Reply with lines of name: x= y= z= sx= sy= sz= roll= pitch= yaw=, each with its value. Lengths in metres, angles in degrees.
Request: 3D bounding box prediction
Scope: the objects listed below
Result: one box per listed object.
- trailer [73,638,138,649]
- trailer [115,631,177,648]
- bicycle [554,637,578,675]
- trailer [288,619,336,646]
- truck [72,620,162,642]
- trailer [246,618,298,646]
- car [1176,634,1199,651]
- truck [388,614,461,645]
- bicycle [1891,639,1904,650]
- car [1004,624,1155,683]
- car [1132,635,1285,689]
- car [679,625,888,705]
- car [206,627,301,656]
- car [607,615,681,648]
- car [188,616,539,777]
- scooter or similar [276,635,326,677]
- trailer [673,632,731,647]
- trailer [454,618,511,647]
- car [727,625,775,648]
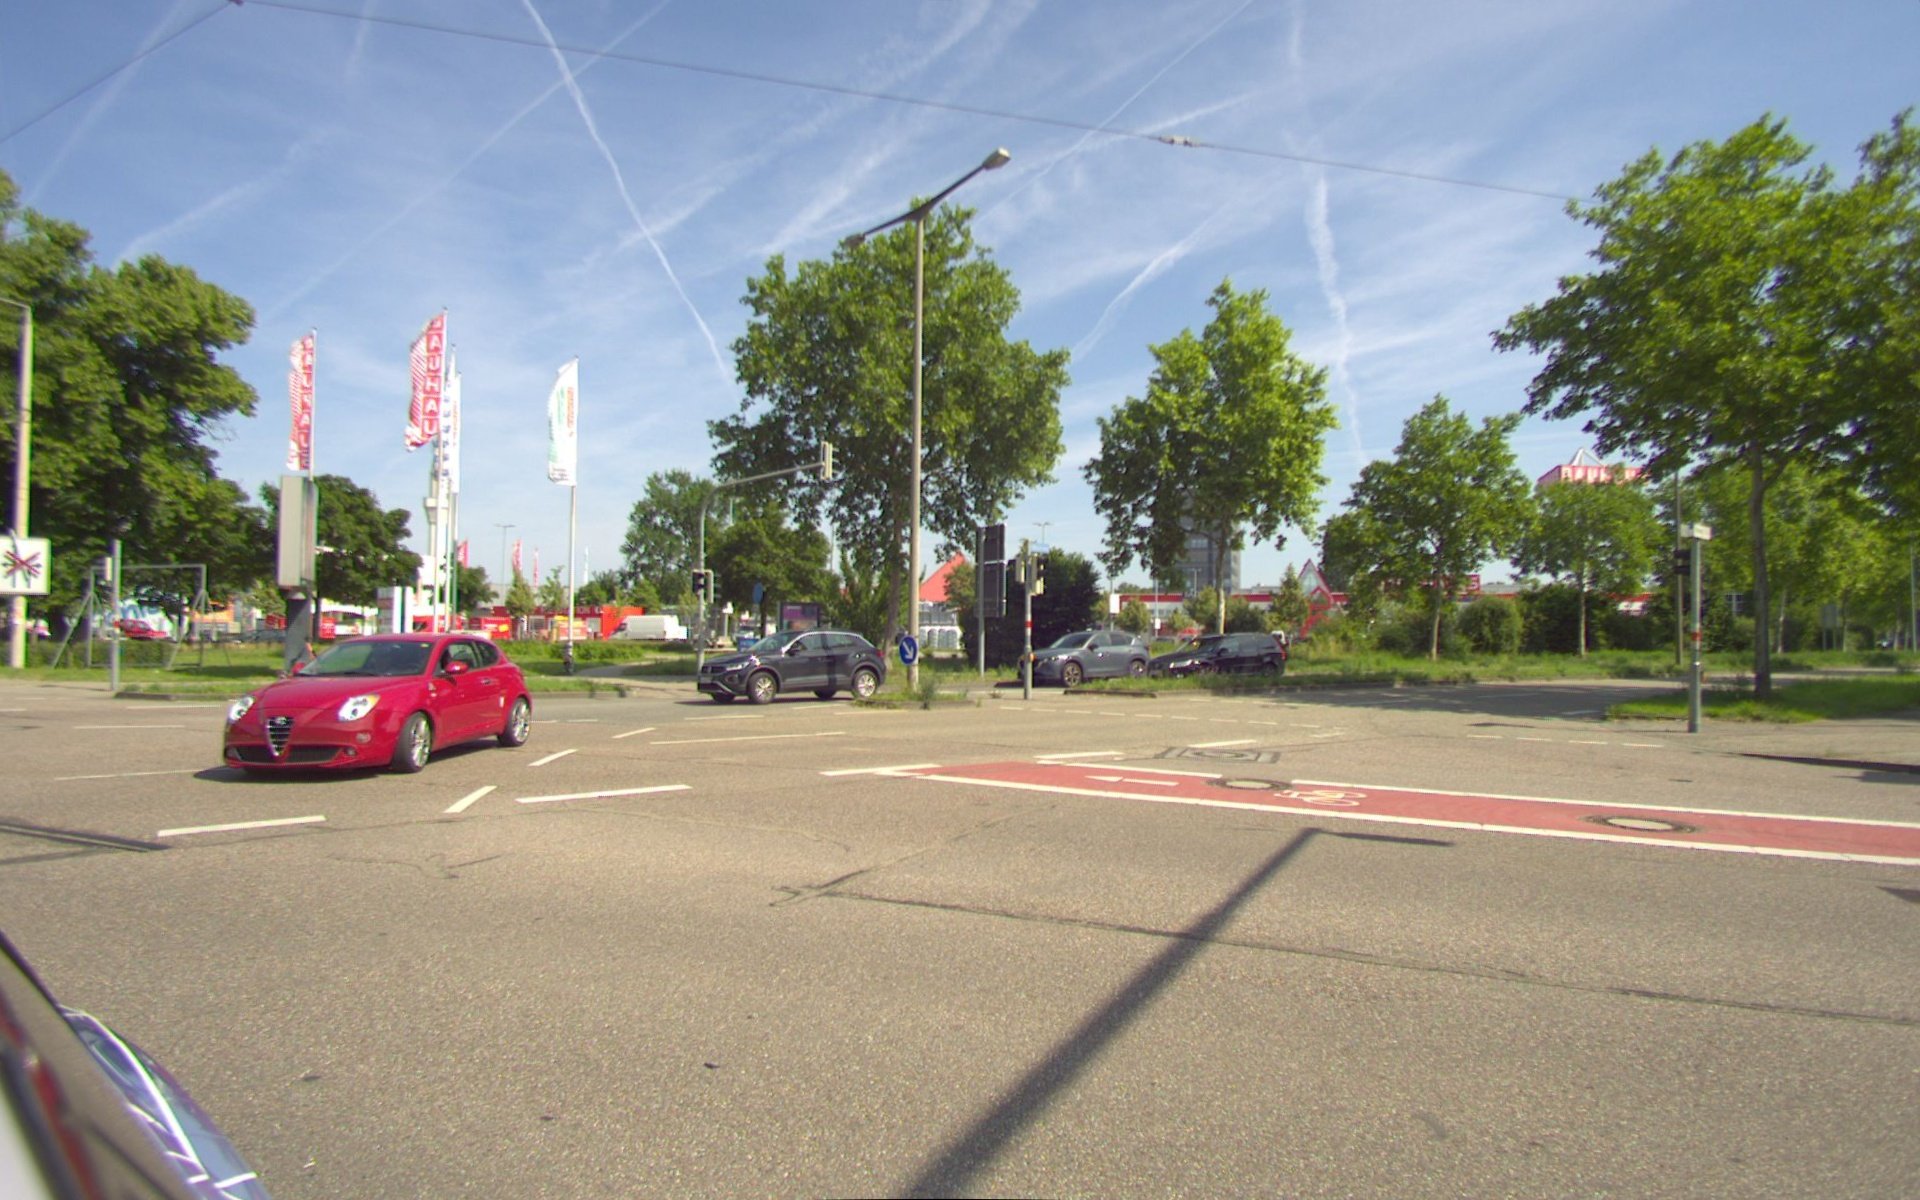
trailer: x=-63.756 y=3.220 z=75.506 sx=4.386 sy=0.788 sz=2.082 roll=-1 pitch=-2 yaw=25
trailer: x=-63.210 y=3.059 z=78.625 sx=4.374 sy=1.297 sz=1.582 roll=-1 pitch=-2 yaw=17
bicycle: x=-12.413 y=1.736 z=31.913 sx=0.495 sy=1.116 sz=1.797 roll=1 pitch=-1 yaw=-15
trailer: x=-58.990 y=2.941 z=92.102 sx=4.388 sy=2.376 sz=1.537 roll=0 pitch=-3 yaw=26
truck: x=-76.245 y=2.854 z=91.689 sx=2.172 sy=1.845 sz=5.962 roll=-3 pitch=-4 yaw=21
trailer: x=-60.825 y=2.790 z=89.448 sx=4.383 sy=2.394 sz=1.578 roll=0 pitch=-2 yaw=23
car: x=21.863 y=4.025 z=97.245 sx=1.677 sy=1.586 sz=3.973 roll=-1 pitch=-2 yaw=20
truck: x=-47.167 y=2.619 z=89.369 sx=2.003 sy=2.629 sz=5.994 roll=-1 pitch=-3 yaw=18
bicycle: x=115.780 y=5.493 z=124.997 sx=1.902 sy=1.247 sz=0.689 roll=1 pitch=-2 yaw=-34
car: x=3.631 y=1.603 z=30.490 sx=4.421 sy=1.672 sz=1.776 roll=1 pitch=-4 yaw=-35
car: x=7.206 y=1.756 z=29.195 sx=4.501 sy=1.439 sz=1.722 roll=1 pitch=-4 yaw=-35
car: x=-3.719 y=1.335 z=21.666 sx=4.016 sy=1.557 sz=1.879 roll=2 pitch=-3 yaw=-39
car: x=-39.568 y=2.311 z=56.770 sx=1.722 sy=1.599 sz=4.012 roll=-1 pitch=-2 yaw=28
car: x=-25.556 y=2.497 z=81.807 sx=5.643 sy=2.561 sz=2.007 roll=-1 pitch=0 yaw=19
car: x=-6.318 y=1.002 z=11.296 sx=1.636 sy=1.449 sz=3.907 roll=-1 pitch=-3 yaw=-1
scooter or similar: x=-18.058 y=1.534 z=27.739 sx=1.105 sy=1.135 sz=0.427 roll=2 pitch=-2 yaw=-35
trailer: x=-20.336 y=3.110 z=79.824 sx=4.004 sy=1.131 sz=2.054 roll=-1 pitch=0 yaw=22
trailer: x=-41.513 y=2.855 z=88.054 sx=1.741 sy=2.394 sz=4.376 roll=0 pitch=-2 yaw=24
car: x=-17.589 y=3.075 z=85.421 sx=1.860 sy=1.830 sz=4.801 roll=1 pitch=-2 yaw=18
